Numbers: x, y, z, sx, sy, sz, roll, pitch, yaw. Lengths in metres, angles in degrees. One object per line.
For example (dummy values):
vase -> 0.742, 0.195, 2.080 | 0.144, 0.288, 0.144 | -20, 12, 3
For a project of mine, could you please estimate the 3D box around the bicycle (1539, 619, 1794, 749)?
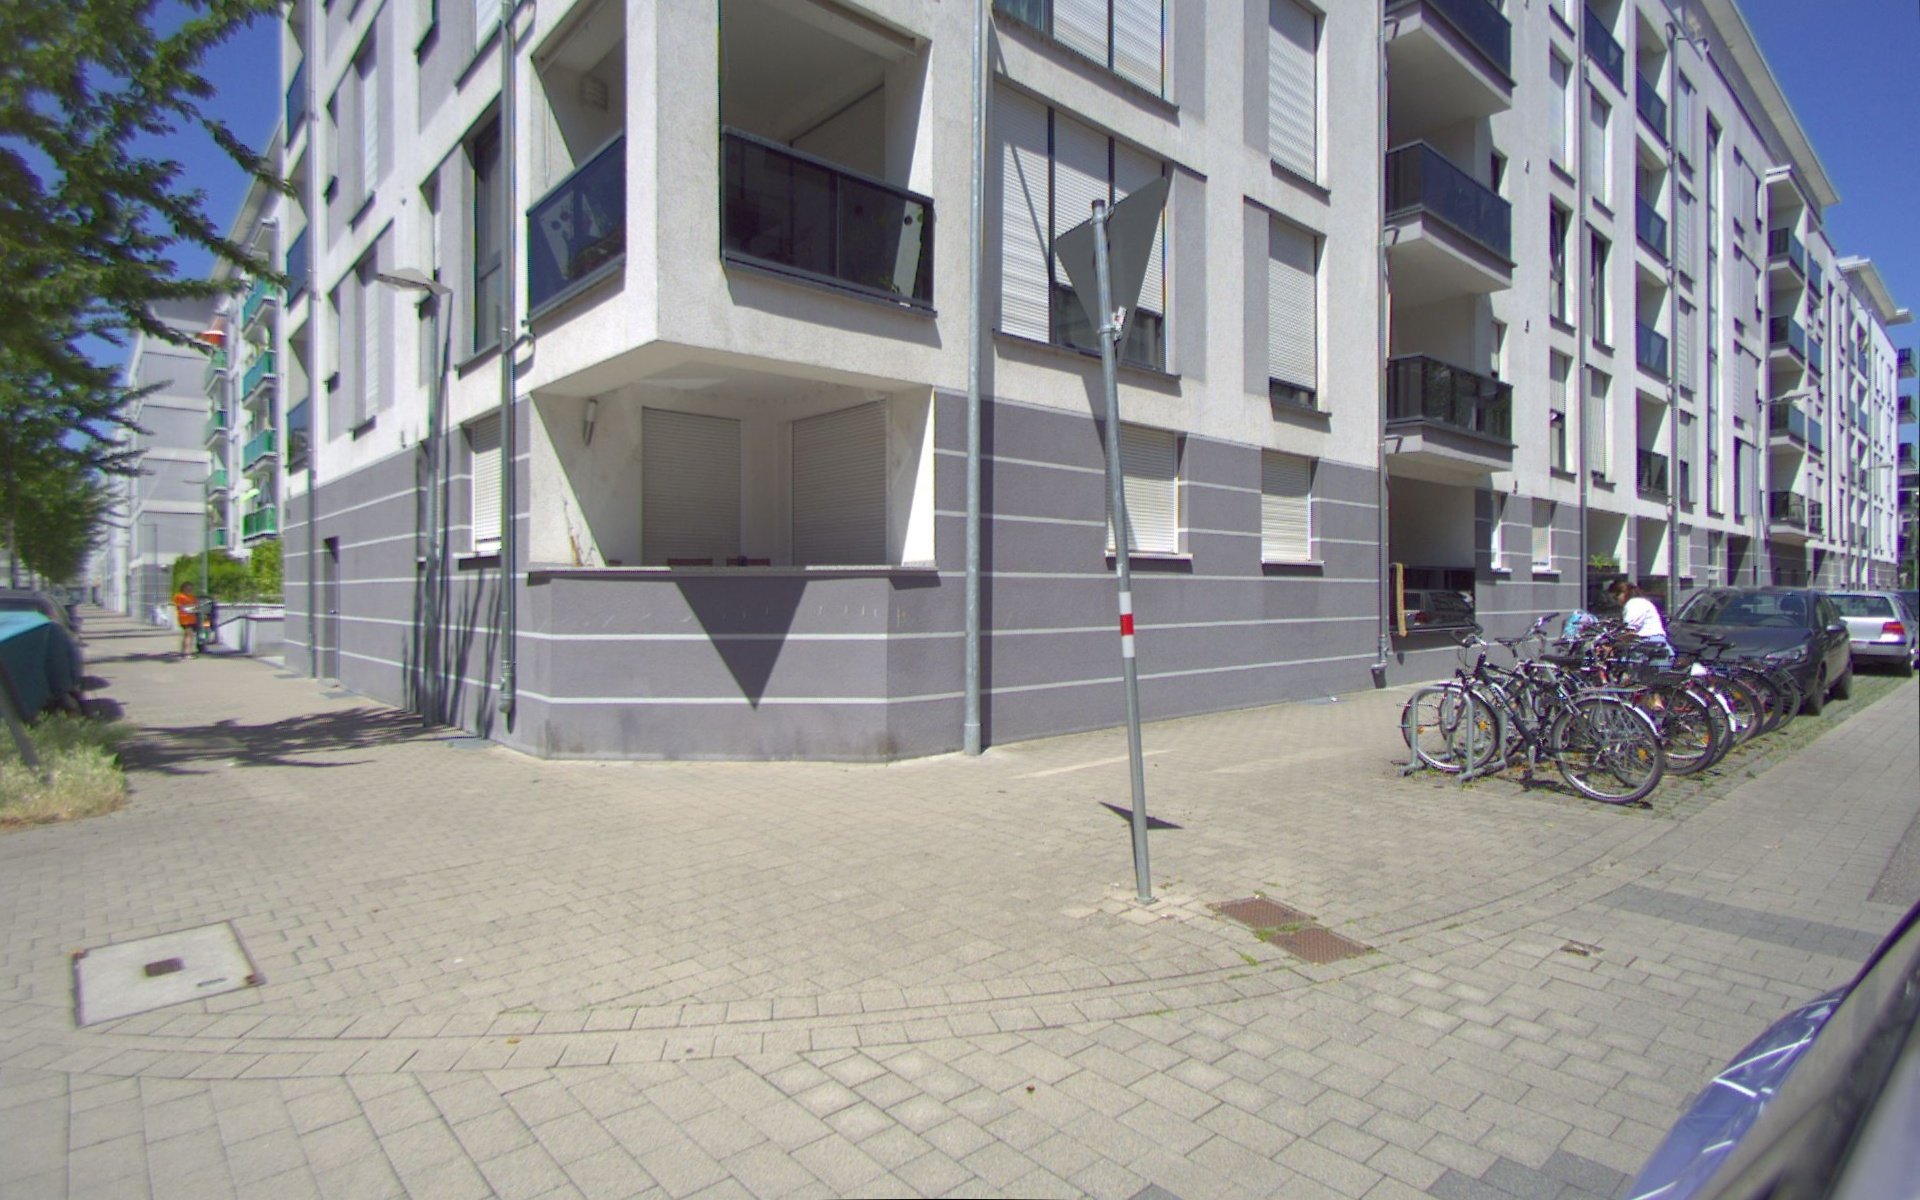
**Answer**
bicycle -> 6.661, 0.742, 9.630 | 0.550, 1.048, 1.924 | -1, 2, -45

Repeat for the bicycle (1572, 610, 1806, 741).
bicycle -> 7.198, 0.689, 10.052 | 0.735, 1.118, 1.787 | -1, 2, -45

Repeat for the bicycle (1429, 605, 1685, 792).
bicycle -> 4.526, 0.677, 7.745 | 0.696, 1.233, 1.552 | 0, 1, -43

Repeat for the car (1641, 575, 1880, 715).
car -> 10.365, 0.455, 12.987 | 4.156, 1.503, 1.741 | -1, 1, -42

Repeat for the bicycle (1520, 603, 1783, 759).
bicycle -> 6.204, 0.673, 9.165 | 1.921, 1.233, 0.454 | 1, 1, 40

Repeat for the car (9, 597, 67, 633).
car -> -35.832, 0.547, 39.342 | 1.606, 1.304, 3.401 | -1, 1, -43

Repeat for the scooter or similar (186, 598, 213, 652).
scooter or similar -> -17.700, 0.568, 23.575 | 0.461, 1.212, 1.528 | 0, -1, -36

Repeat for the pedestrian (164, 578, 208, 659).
pedestrian -> -16.415, 0.375, 21.472 | 0.730, 1.674, 0.514 | 0, 0, -37

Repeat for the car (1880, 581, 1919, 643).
car -> 24.854, 0.279, 25.838 | 4.048, 1.480, 1.645 | -1, 2, -43

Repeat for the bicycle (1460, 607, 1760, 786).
bicycle -> 5.106, 0.686, 8.098 | 0.626, 1.194, 1.931 | 0, 1, -32

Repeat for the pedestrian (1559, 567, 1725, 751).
pedestrian -> 6.111, 0.480, 9.081 | 1.176, 1.534, 0.678 | 1, 1, 39

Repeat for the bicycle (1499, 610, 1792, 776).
bicycle -> 5.611, 0.696, 8.425 | 0.597, 1.147, 1.931 | 0, 1, -32

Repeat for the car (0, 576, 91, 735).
car -> -11.015, 0.560, 11.424 | 1.777, 1.582, 3.681 | -2, 2, -41

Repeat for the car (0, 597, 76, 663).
car -> -19.663, 0.586, 21.227 | 1.606, 1.263, 3.401 | -1, 1, -43

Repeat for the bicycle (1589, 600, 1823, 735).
bicycle -> 7.733, 0.647, 10.554 | 0.704, 1.233, 1.871 | -1, 2, -45

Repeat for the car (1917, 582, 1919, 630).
car -> 31.913, 0.191, 32.350 | 3.612, 1.504, 1.598 | 0, 2, -42

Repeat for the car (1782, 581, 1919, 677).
car -> 16.517, 0.434, 18.369 | 4.276, 1.523, 1.837 | -1, 2, -42

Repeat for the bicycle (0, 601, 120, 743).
bicycle -> -8.987, 0.650, 9.019 | 0.773, 1.253, 2.240 | 0, 0, 21

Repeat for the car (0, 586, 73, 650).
car -> -25.496, 0.441, 27.586 | 1.966, 1.639, 3.992 | -1, 1, -42

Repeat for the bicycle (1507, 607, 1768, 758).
bicycle -> 5.788, 0.663, 8.768 | 1.824, 1.162, 0.456 | 1, 1, 30

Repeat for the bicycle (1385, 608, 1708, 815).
bicycle -> 4.082, 0.696, 7.192 | 0.675, 1.208, 1.864 | 0, 1, -38

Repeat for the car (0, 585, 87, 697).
car -> -14.708, 0.566, 15.379 | 1.967, 1.549, 3.990 | -1, 1, -44
